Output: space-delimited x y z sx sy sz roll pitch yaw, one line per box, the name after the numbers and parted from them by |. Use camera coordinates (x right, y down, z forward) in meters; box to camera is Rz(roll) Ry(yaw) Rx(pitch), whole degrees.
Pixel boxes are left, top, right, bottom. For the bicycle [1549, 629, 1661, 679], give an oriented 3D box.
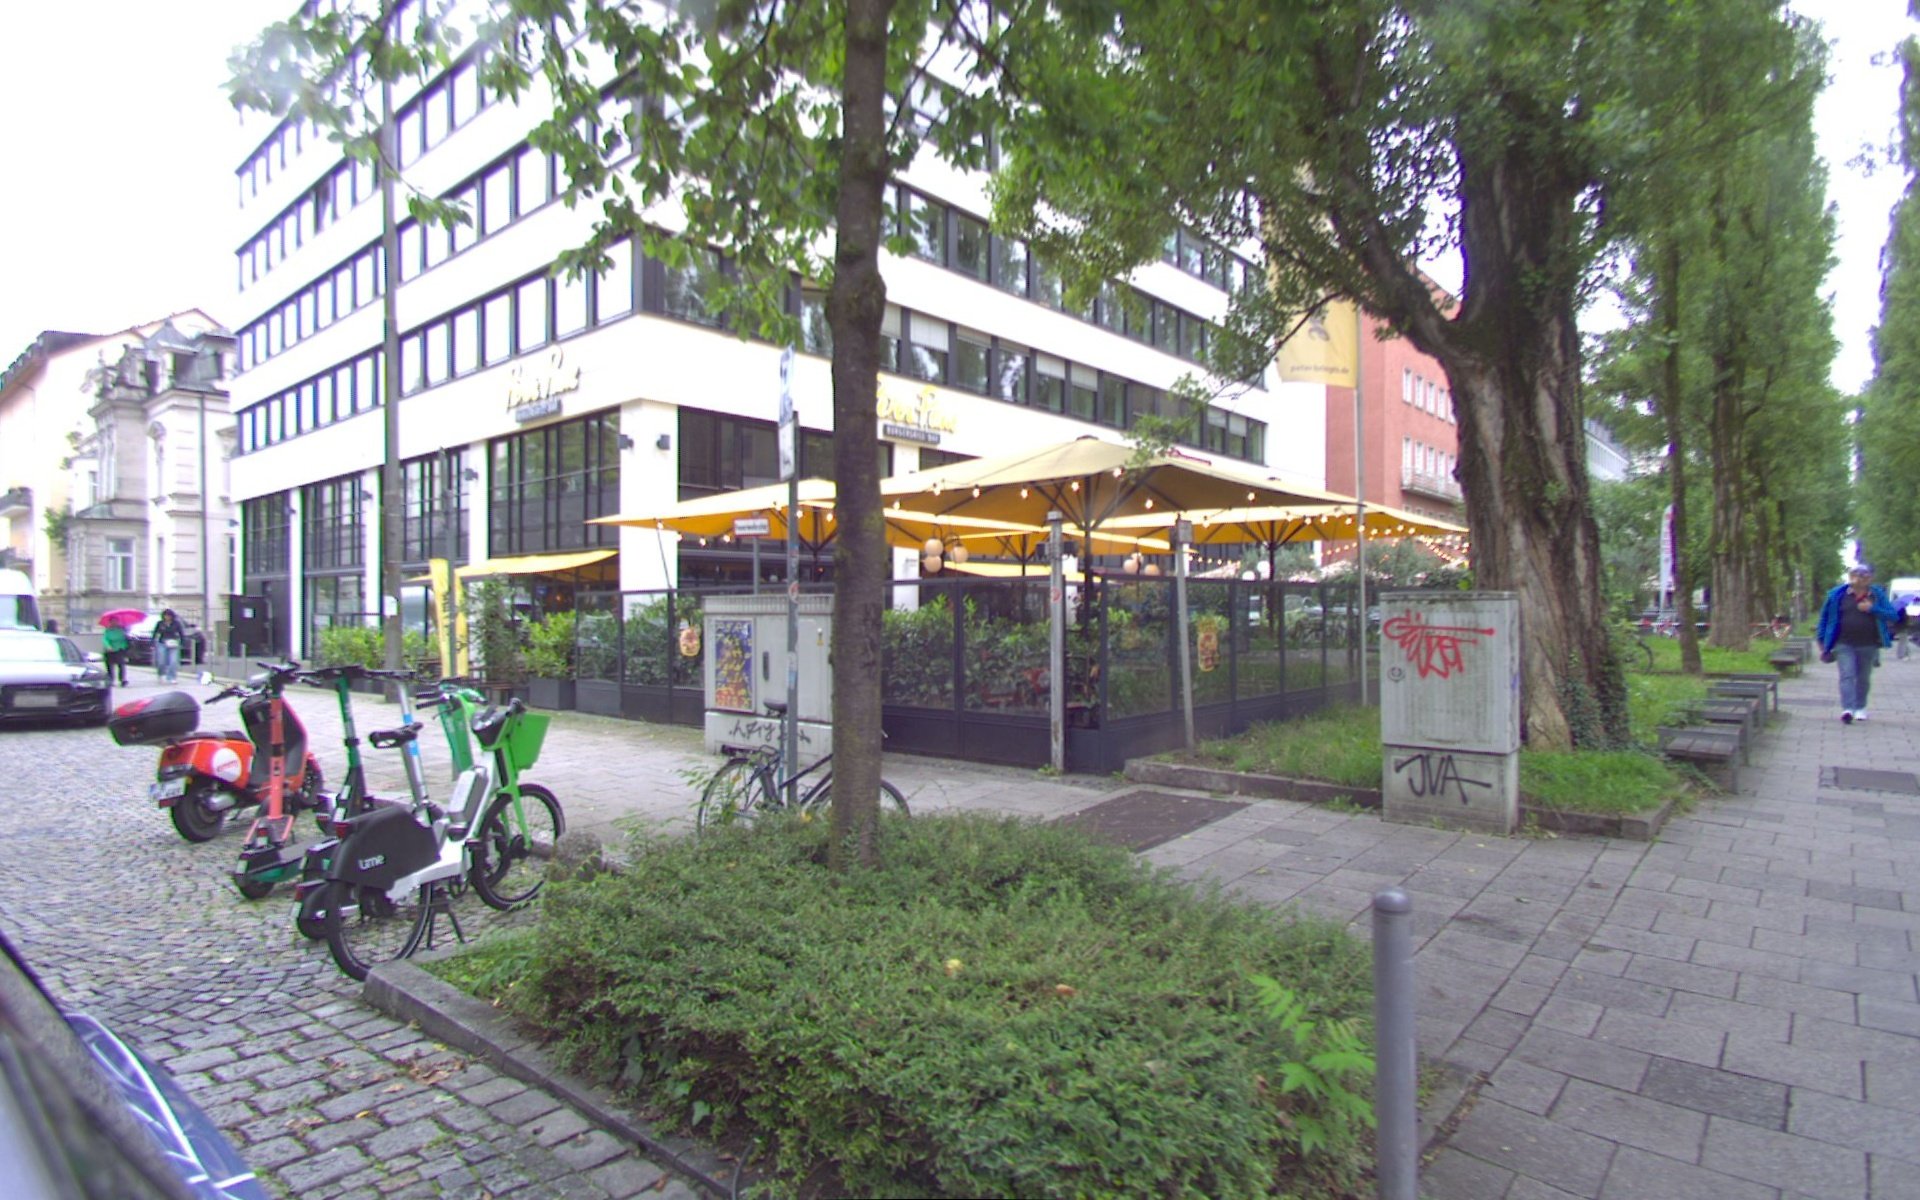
12.632 1.047 19.853 1.800 0.919 0.612 -1 -1 39 | bicycle

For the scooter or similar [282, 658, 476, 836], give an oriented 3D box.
-4.124 1.021 7.199 1.237 1.189 0.389 -1 -1 10 | scooter or similar

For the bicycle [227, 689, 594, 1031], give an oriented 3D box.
-2.435 1.065 4.755 0.548 1.152 1.757 -1 -1 10 | bicycle

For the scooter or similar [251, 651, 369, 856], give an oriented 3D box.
-4.659 1.039 7.317 0.322 1.282 1.361 0 -1 -15 | scooter or similar

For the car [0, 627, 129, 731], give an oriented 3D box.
-14.178 1.111 15.240 4.115 1.340 1.972 -1 -1 42 | car

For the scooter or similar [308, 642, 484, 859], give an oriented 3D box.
-3.751 0.946 6.820 0.324 1.282 1.247 -1 -1 10 | scooter or similar

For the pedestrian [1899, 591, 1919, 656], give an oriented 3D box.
25.258 0.621 26.644 0.637 1.705 0.736 0 -1 -45 | pedestrian

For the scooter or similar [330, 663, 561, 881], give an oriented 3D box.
-3.136 1.000 6.245 0.327 1.153 1.234 -1 -1 41 | scooter or similar

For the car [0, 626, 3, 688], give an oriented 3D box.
-24.173 1.337 23.962 4.000 1.441 1.972 -1 -1 43 | car

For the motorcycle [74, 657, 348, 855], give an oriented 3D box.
-5.464 1.065 7.574 0.759 1.205 1.994 0 -2 -7 | motorcycle

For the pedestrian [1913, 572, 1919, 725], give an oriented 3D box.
11.130 0.545 11.132 0.697 1.741 0.641 -1 -1 18 | pedestrian

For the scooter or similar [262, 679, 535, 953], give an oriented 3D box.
-2.914 1.053 5.402 0.366 1.153 1.422 -1 -1 17 | scooter or similar

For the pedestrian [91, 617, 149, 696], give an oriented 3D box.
-18.714 1.233 22.548 0.800 1.719 0.916 -1 -1 43 | pedestrian

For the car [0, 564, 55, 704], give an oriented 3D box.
-19.660 0.658 19.844 5.844 2.510 2.039 -1 -1 40 | car

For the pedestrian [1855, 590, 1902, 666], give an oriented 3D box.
20.859 0.624 22.982 0.637 1.705 0.736 0 -1 -45 | pedestrian

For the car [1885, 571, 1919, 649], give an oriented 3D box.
39.650 0.393 41.452 2.198 3.040 5.921 -1 -1 39 | car

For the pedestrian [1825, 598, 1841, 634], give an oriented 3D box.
41.237 0.751 47.797 0.514 1.705 0.505 0 -1 -45 | pedestrian

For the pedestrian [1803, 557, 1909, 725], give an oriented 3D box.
10.600 0.477 11.996 0.697 1.922 0.641 -1 -1 18 | pedestrian

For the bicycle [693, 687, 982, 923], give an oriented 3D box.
-0.740 1.059 5.670 1.761 1.030 0.546 -1 -1 40 | bicycle

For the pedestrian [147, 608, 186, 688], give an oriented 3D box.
-17.876 1.067 22.794 0.650 1.761 0.568 -1 -1 40 | pedestrian

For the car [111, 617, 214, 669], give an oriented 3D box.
-25.795 1.353 32.697 4.167 1.544 1.888 -1 -1 41 | car
